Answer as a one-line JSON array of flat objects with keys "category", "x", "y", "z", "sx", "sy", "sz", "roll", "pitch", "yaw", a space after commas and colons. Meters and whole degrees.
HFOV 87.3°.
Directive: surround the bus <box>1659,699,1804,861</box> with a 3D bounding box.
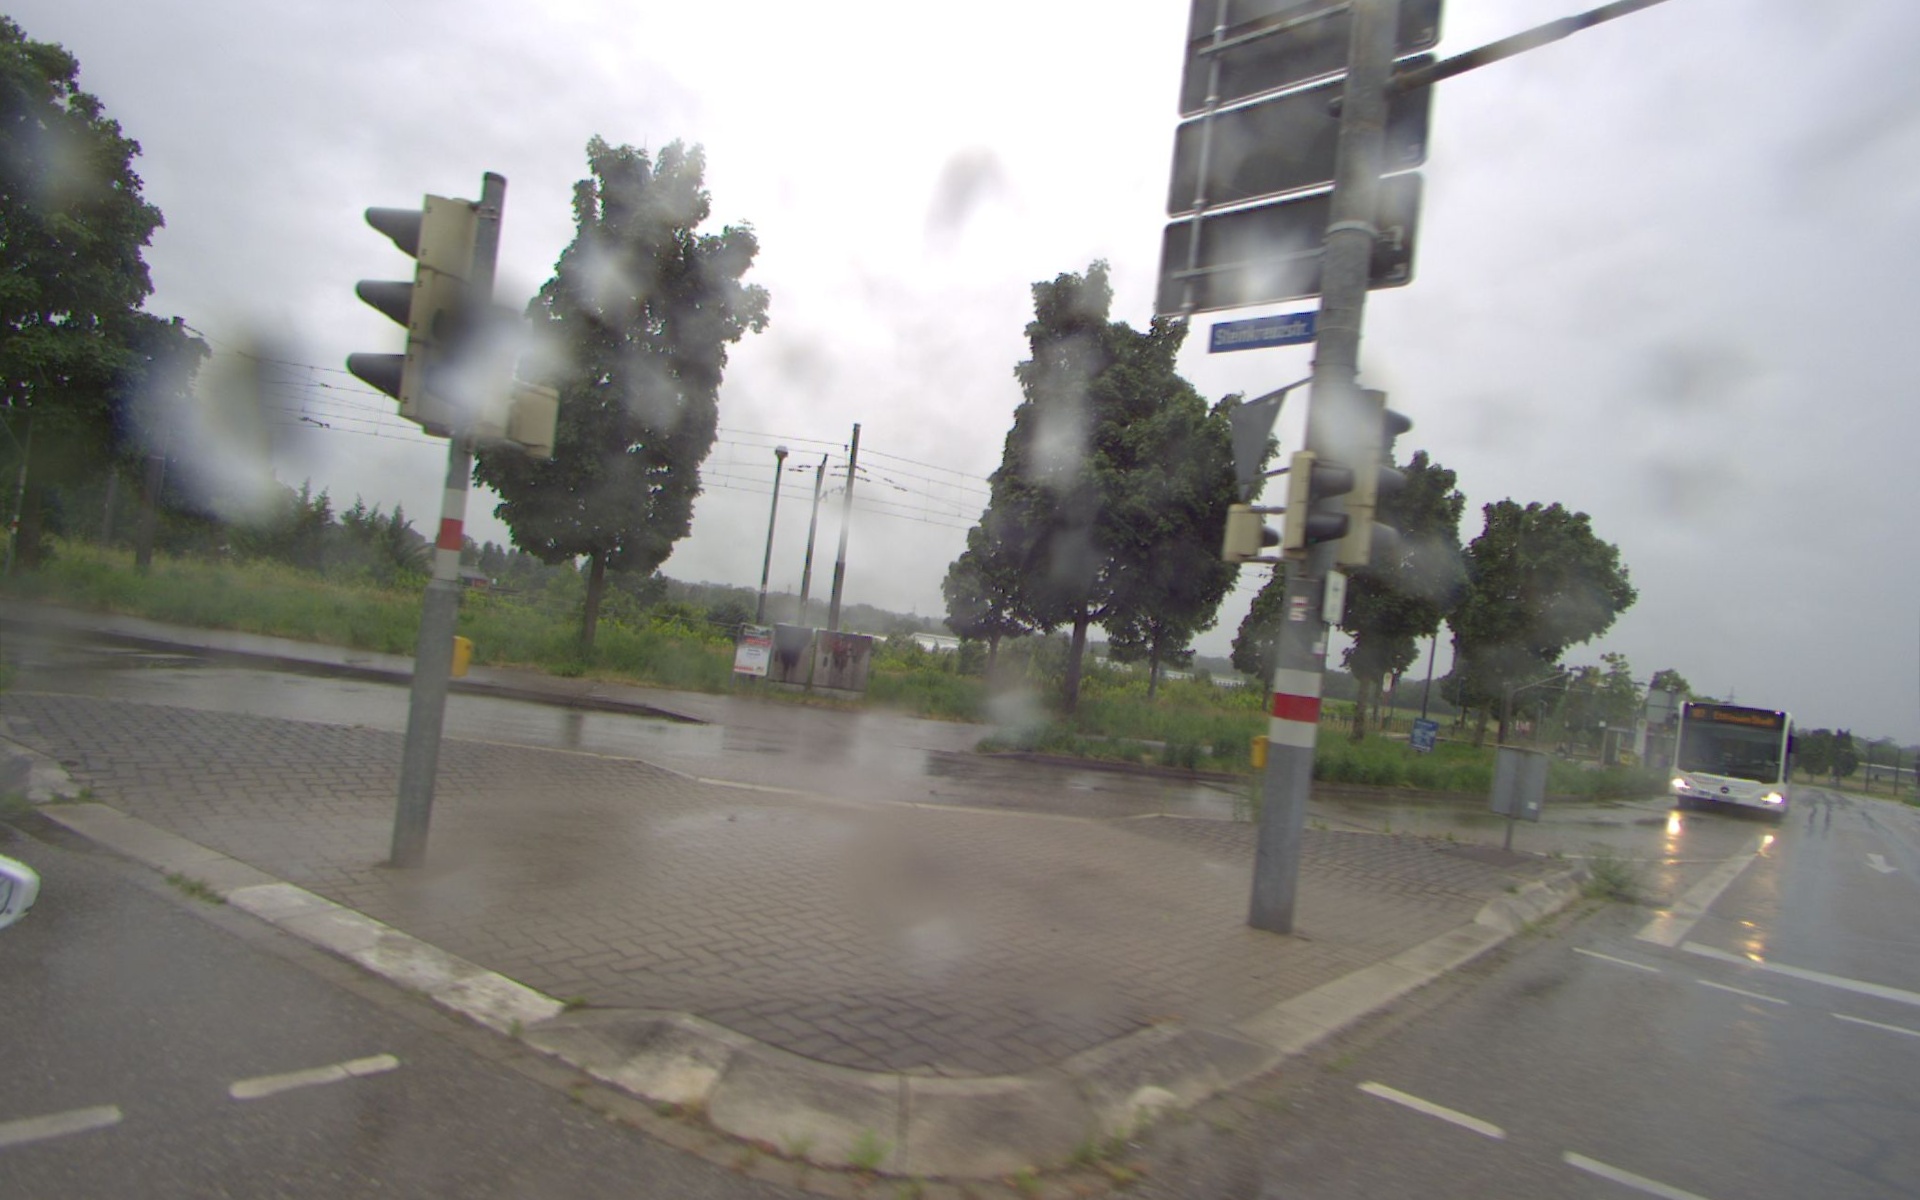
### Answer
[{"category": "bus", "x": 26.434, "y": 5.817, "z": 33.881, "sx": 2.717, "sy": 3.827, "sz": 18.371, "roll": 6, "pitch": -3, "yaw": 40}]
